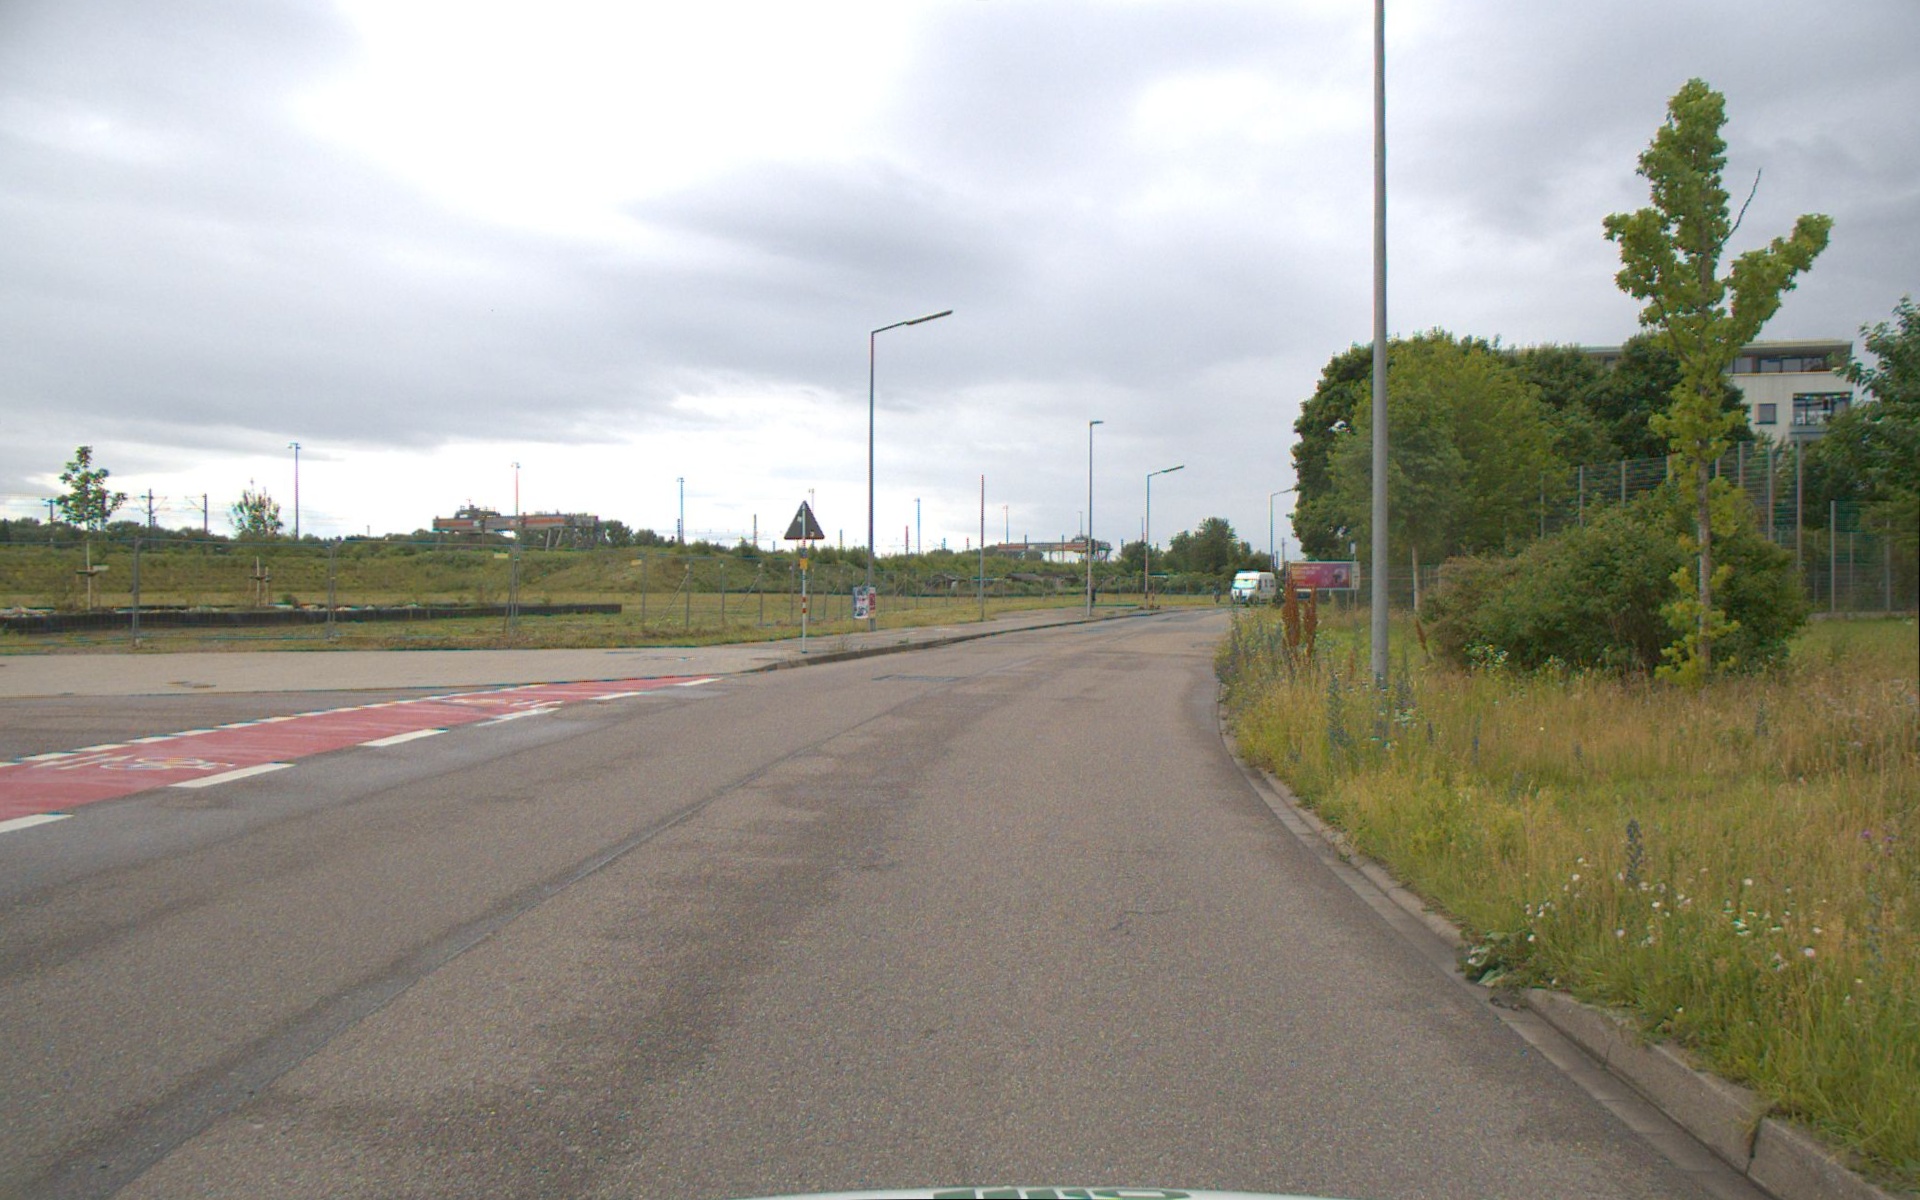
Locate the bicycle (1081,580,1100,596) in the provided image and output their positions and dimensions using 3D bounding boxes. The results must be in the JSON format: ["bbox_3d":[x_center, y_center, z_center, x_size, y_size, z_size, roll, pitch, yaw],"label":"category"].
[{"bbox_3d":[7.757,-0.705,98.362,0.786,0.923,2.234,0,1,14],"label":"bicycle"}]

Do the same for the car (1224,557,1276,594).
[{"bbox_3d":[21.280,-1.808,121.174,2.243,2.600,6.407,0,1,25],"label":"car"}]

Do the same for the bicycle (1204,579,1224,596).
[{"bbox_3d":[18.846,-0.906,122.725,0.803,1.225,2.555,0,2,25],"label":"bicycle"}]

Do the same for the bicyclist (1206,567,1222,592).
[{"bbox_3d":[18.829,-1.536,122.707,0.811,1.853,1.329,0,1,25],"label":"bicyclist"}]

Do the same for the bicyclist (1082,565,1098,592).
[{"bbox_3d":[7.749,-1.291,98.283,0.765,1.553,1.095,0,1,14],"label":"bicyclist"}]
